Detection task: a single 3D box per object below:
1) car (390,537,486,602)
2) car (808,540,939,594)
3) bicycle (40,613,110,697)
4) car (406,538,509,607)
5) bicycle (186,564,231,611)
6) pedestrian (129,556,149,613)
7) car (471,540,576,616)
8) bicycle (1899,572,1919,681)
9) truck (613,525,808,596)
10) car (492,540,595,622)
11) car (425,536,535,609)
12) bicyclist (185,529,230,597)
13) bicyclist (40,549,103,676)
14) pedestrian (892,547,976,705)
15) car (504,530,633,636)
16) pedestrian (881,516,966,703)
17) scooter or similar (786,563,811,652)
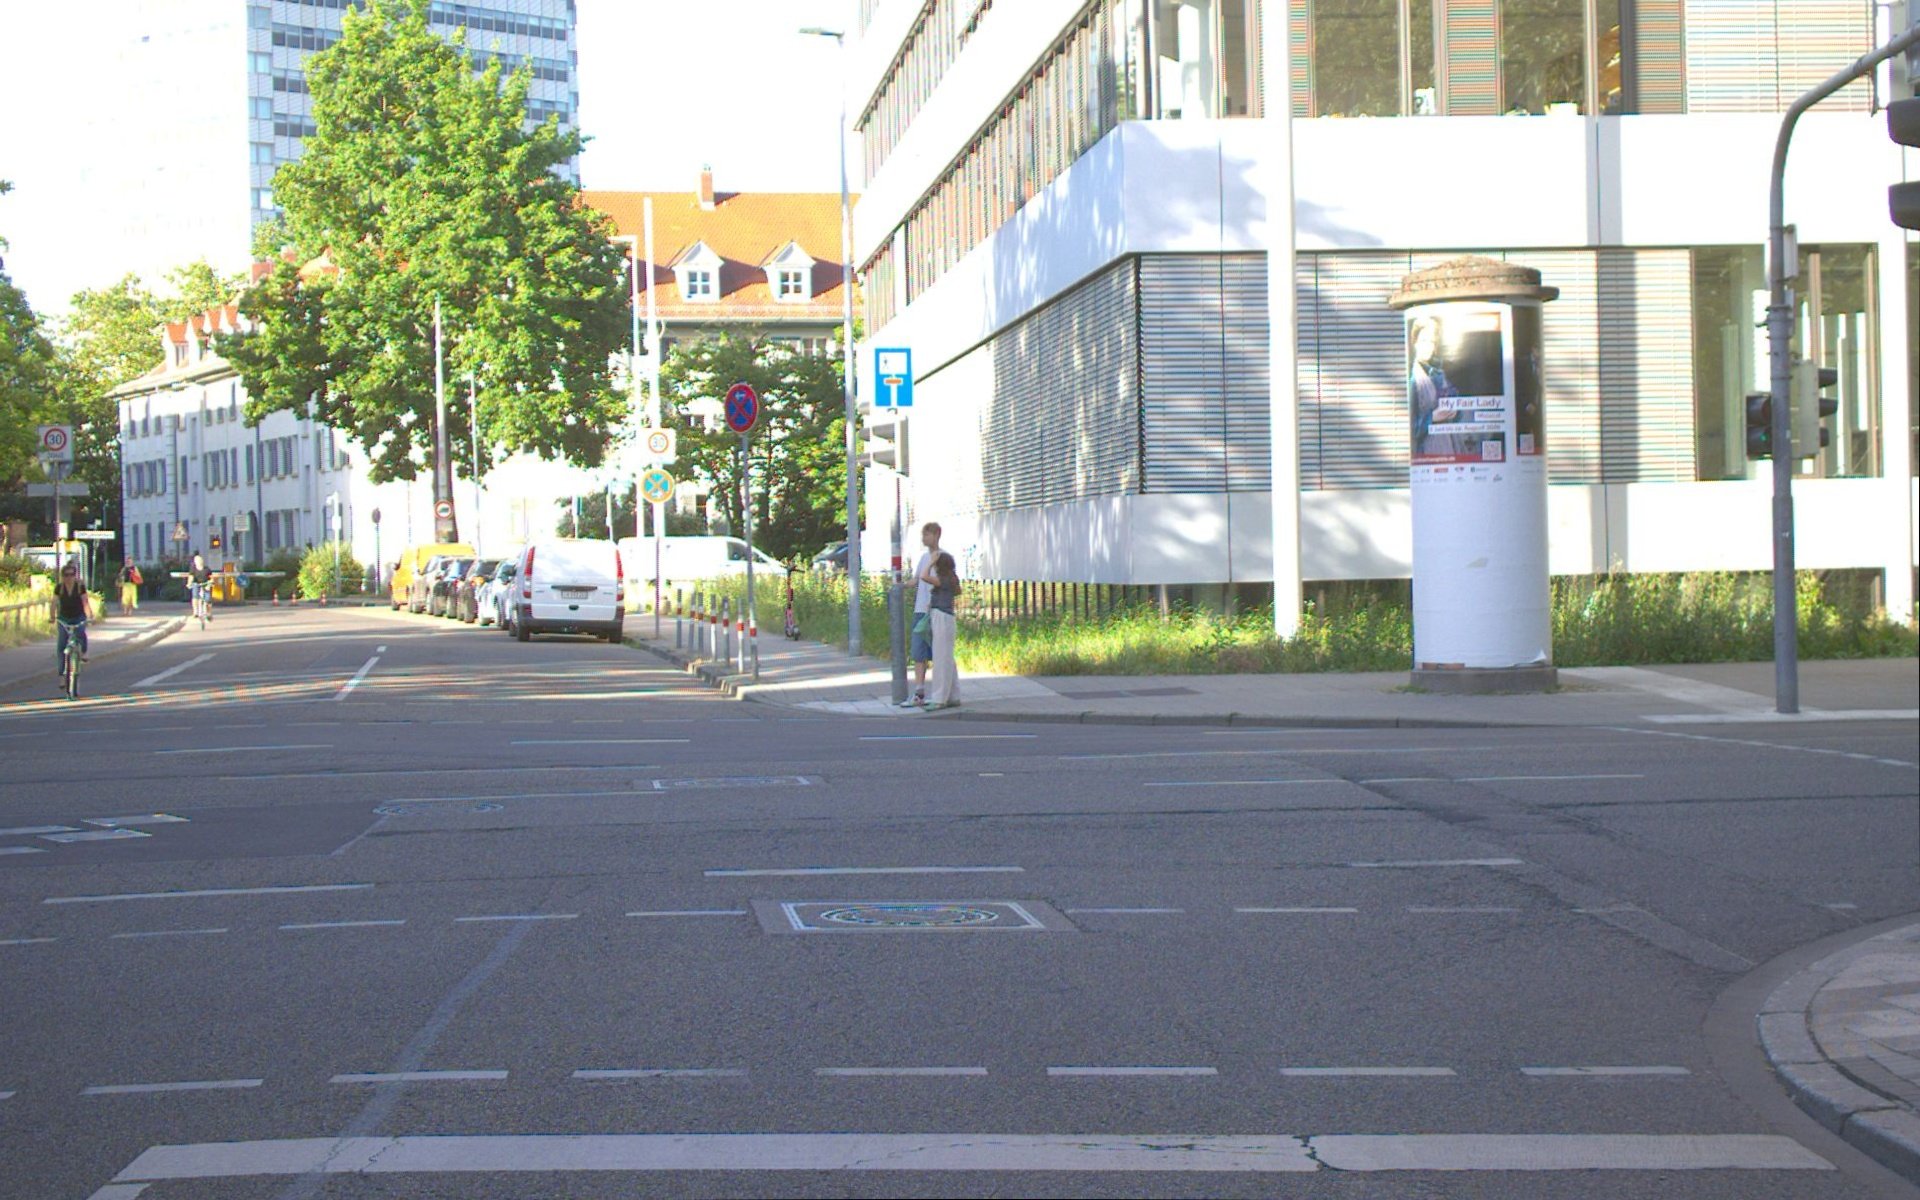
[{"bbox_3d":[-14.158,-0.851,93.068,1.888,1.650,4.416,-1,2,-18],"label":"car"},{"bbox_3d":[-2.574,-0.980,101.629,3.554,1.541,1.559,-1,1,-18],"label":"car"},{"bbox_3d":[-10.975,0.669,42.673,0.615,0.966,1.842,-2,1,-8],"label":"bicycle"},{"bbox_3d":[-12.918,-0.726,88.202,1.888,1.650,4.416,-1,2,-18],"label":"car"},{"bbox_3d":[-17.215,-0.280,78.761,0.865,1.006,2.415,-4,1,-10],"label":"bicycle"},{"bbox_3d":[-23.398,-0.434,97.946,0.433,1.602,0.493,-2,1,-25],"label":"pedestrian"},{"bbox_3d":[-9.650,-0.518,75.811,1.888,1.550,4.416,-1,2,-13],"label":"car"},{"bbox_3d":[9.914,0.281,33.215,0.507,1.046,1.687,-3,4,-34],"label":"bicycle"},{"bbox_3d":[-7.308,-1.160,100.517,5.336,2.007,2.001,-1,1,-18],"label":"truck"},{"bbox_3d":[-8.561,-0.411,70.422,1.888,1.550,4.416,-1,2,-9],"label":"car"},{"bbox_3d":[-11.619,-0.682,83.091,1.888,1.650,4.416,-1,2,-18],"label":"car"},{"bbox_3d":[-17.243,-0.844,78.770,0.865,1.510,1.019,-4,1,-10],"label":"bicyclist"},{"bbox_3d":[-10.945,0.147,42.379,0.615,1.527,0.903,-2,1,-8],"label":"bicyclist"},{"bbox_3d":[-0.266,0.257,34.543,0.559,1.535,0.677,-5,2,-17],"label":"pedestrian"},{"bbox_3d":[-7.116,-0.341,62.194,2.084,1.789,4.416,-1,2,-9],"label":"car"},{"bbox_3d":[-0.373,0.090,35.149,0.560,1.844,0.677,-4,2,17],"label":"pedestrian"},{"bbox_3d":[-2.632,0.120,55.951,0.330,1.419,1.335,1,0,-5],"label":"scooter or similar"}]
